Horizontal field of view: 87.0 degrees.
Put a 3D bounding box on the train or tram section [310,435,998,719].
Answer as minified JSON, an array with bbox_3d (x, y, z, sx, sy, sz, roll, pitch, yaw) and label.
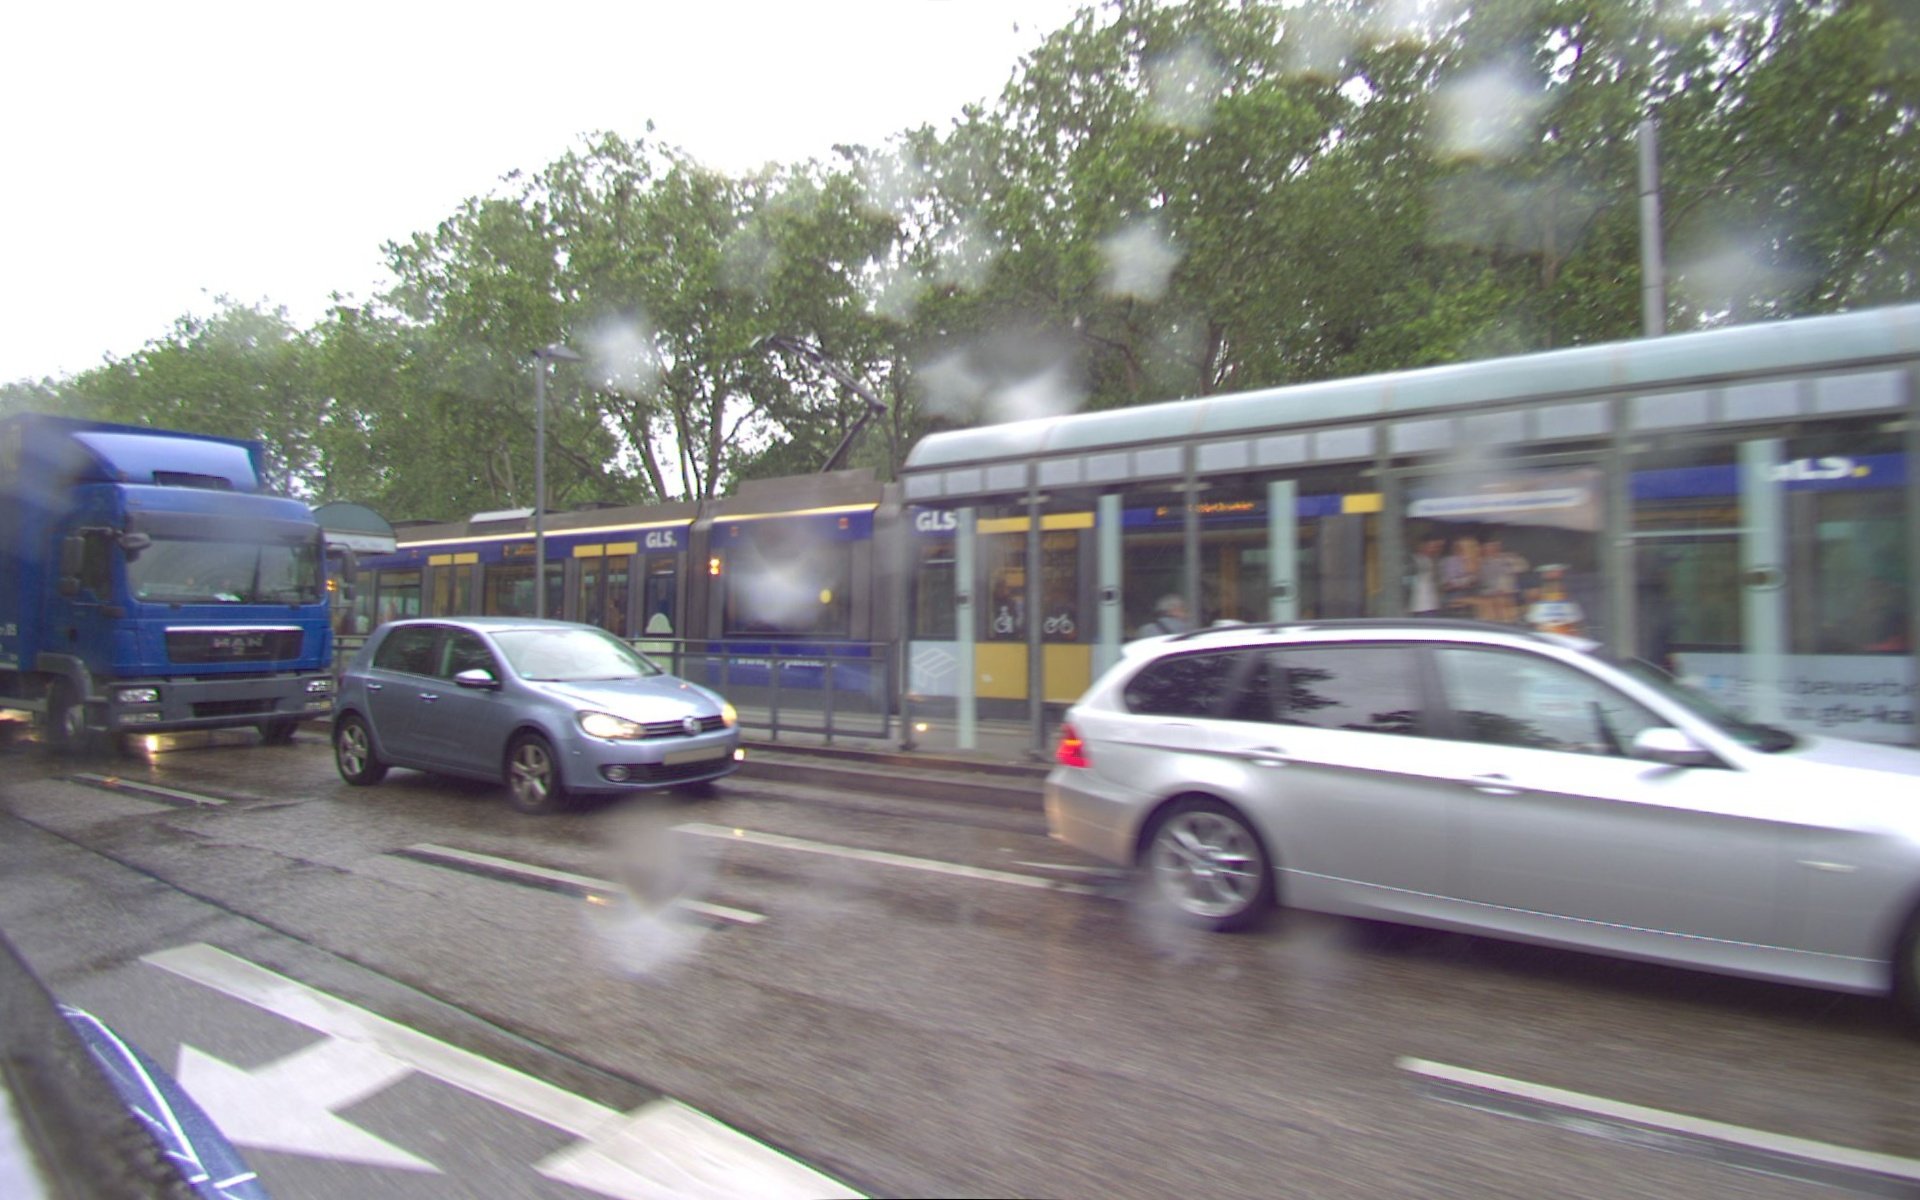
[{"bbox_3d":[-6.099,-0.234,17.750,13.615,3.539,3.486,-1,1,32],"label":"train or tram section"}]

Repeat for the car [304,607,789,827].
[{"bbox_3d":[-3.643,0.828,8.767,4.063,1.498,1.876,-1,-1,31],"label":"car"}]

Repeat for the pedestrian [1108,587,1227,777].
[{"bbox_3d":[1.662,0.618,8.094,0.748,1.429,0.628,-1,0,31],"label":"pedestrian"}]

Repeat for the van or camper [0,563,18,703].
[{"bbox_3d":[-20.852,0.666,19.812,6.411,2.590,1.978,-1,1,33],"label":"van or camper"}]

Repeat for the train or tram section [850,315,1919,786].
[{"bbox_3d":[6.112,-0.363,10.025,15.451,3.438,3.514,-1,1,32],"label":"train or tram section"}]

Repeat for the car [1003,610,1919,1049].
[{"bbox_3d":[2.672,0.777,4.671,4.590,1.405,1.979,-1,-2,31],"label":"car"}]

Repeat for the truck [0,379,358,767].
[{"bbox_3d":[-12.175,-0.208,13.865,9.777,3.919,2.520,-1,-1,32],"label":"truck"}]
